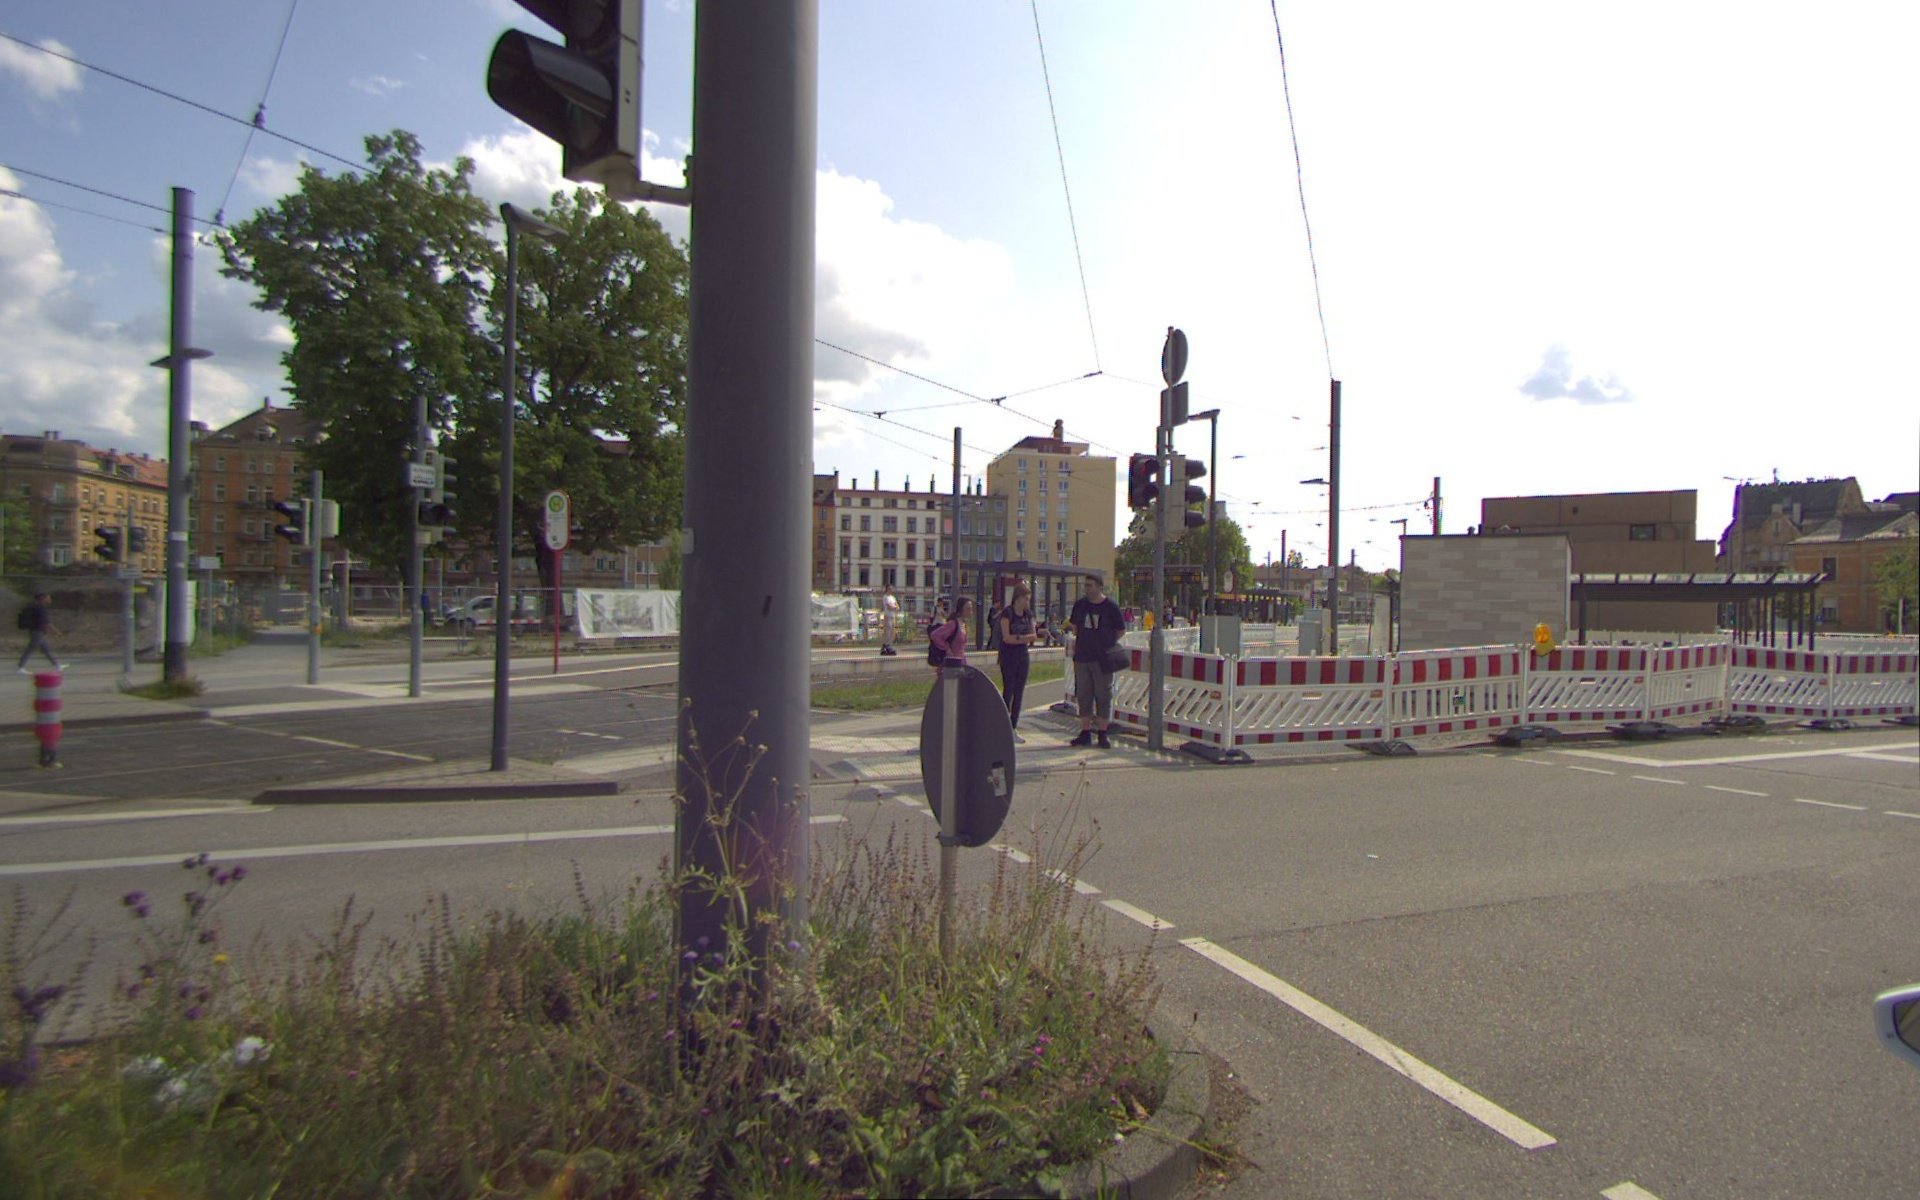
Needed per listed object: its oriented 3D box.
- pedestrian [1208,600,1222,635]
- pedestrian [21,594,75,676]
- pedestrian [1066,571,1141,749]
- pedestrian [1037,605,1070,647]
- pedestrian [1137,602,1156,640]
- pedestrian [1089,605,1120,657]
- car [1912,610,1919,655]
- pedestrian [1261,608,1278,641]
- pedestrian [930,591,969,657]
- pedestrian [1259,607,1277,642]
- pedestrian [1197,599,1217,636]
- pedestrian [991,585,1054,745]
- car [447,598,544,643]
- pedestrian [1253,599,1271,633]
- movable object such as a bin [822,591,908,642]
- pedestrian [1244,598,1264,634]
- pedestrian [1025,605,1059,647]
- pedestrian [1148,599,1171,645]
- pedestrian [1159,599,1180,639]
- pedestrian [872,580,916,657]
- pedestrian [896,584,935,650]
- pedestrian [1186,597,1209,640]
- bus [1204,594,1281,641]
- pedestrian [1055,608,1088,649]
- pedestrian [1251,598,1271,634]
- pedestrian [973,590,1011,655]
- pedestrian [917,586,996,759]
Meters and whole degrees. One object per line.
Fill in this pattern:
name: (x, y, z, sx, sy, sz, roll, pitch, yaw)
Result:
pedestrian: (15.282, 1.067, 60.264, 0.716, 2.040, 0.944, 2, 0, 13)
pedestrian: (-19.045, 0.717, 20.983, 0.783, 1.674, 0.574, 1, -1, -40)
pedestrian: (1.584, 0.652, 11.164, 0.778, 1.910, 0.613, 1, 0, 5)
pedestrian: (3.350, 0.932, 36.029, 0.928, 1.450, 0.729, 2, 0, 35)
pedestrian: (10.178, 1.133, 54.715, 0.718, 2.040, 0.942, 2, 0, 29)
pedestrian: (5.780, 1.229, 40.167, 0.928, 2.040, 0.729, 2, 0, 35)
car: (51.205, 1.668, 49.974, 2.257, 2.349, 5.586, 1, -1, -3)
pedestrian: (19.540, 1.546, 63.350, 0.925, 2.040, 0.731, 2, 0, 22)
pedestrian: (-0.328, 0.742, 31.716, 0.928, 2.040, 0.729, 2, 0, 35)
pedestrian: (18.349, 1.470, 59.908, 0.925, 2.040, 0.731, 2, 0, 22)
pedestrian: (13.799, 0.974, 56.174, 0.924, 2.040, 0.731, 2, 0, 7)
pedestrian: (0.699, 0.719, 11.292, 0.610, 1.759, 0.409, 1, 0, -13)
car: (-26.347, 1.180, 57.031, 4.584, 2.450, 2.038, 1, -1, -41)
pedestrian: (18.484, 0.980, 61.501, 0.925, 2.040, 0.731, 2, 0, 22)
movable object such as a bin: (-5.017, 0.875, 53.377, 2.607, 2.608, 3.988, 0, -1, 35)
pedestrian: (16.923, 0.900, 57.849, 0.924, 2.040, 0.731, 2, 0, 7)
pedestrian: (2.877, 0.910, 35.380, 0.928, 1.450, 0.729, 2, 0, 35)
pedestrian: (9.071, 0.988, 45.689, 0.924, 2.040, 0.731, 2, 0, 7)
pedestrian: (10.834, 0.993, 51.953, 0.925, 2.040, 0.731, 2, 0, 3)
pedestrian: (-1.780, 0.493, 27.191, 0.803, 2.040, 0.797, 2, 0, 35)
pedestrian: (-1.422, 0.538, 31.804, 0.928, 2.040, 0.729, 2, 0, 35)
pedestrian: (11.587, 0.904, 48.934, 0.925, 2.040, 0.731, 2, 0, 3)
bus: (19.947, 1.240, 70.352, 2.388, 3.022, 10.519, 0, -1, 31)
pedestrian: (4.067, 1.025, 36.697, 0.928, 1.450, 0.729, 2, 0, 35)
pedestrian: (17.530, 0.927, 58.531, 0.924, 2.040, 0.731, 2, 0, 7)
pedestrian: (1.026, 0.721, 32.329, 0.928, 2.040, 0.729, 2, 0, 35)
pedestrian: (-0.031, 0.730, 10.462, 0.601, 1.729, 0.622, 0, 0, 24)
